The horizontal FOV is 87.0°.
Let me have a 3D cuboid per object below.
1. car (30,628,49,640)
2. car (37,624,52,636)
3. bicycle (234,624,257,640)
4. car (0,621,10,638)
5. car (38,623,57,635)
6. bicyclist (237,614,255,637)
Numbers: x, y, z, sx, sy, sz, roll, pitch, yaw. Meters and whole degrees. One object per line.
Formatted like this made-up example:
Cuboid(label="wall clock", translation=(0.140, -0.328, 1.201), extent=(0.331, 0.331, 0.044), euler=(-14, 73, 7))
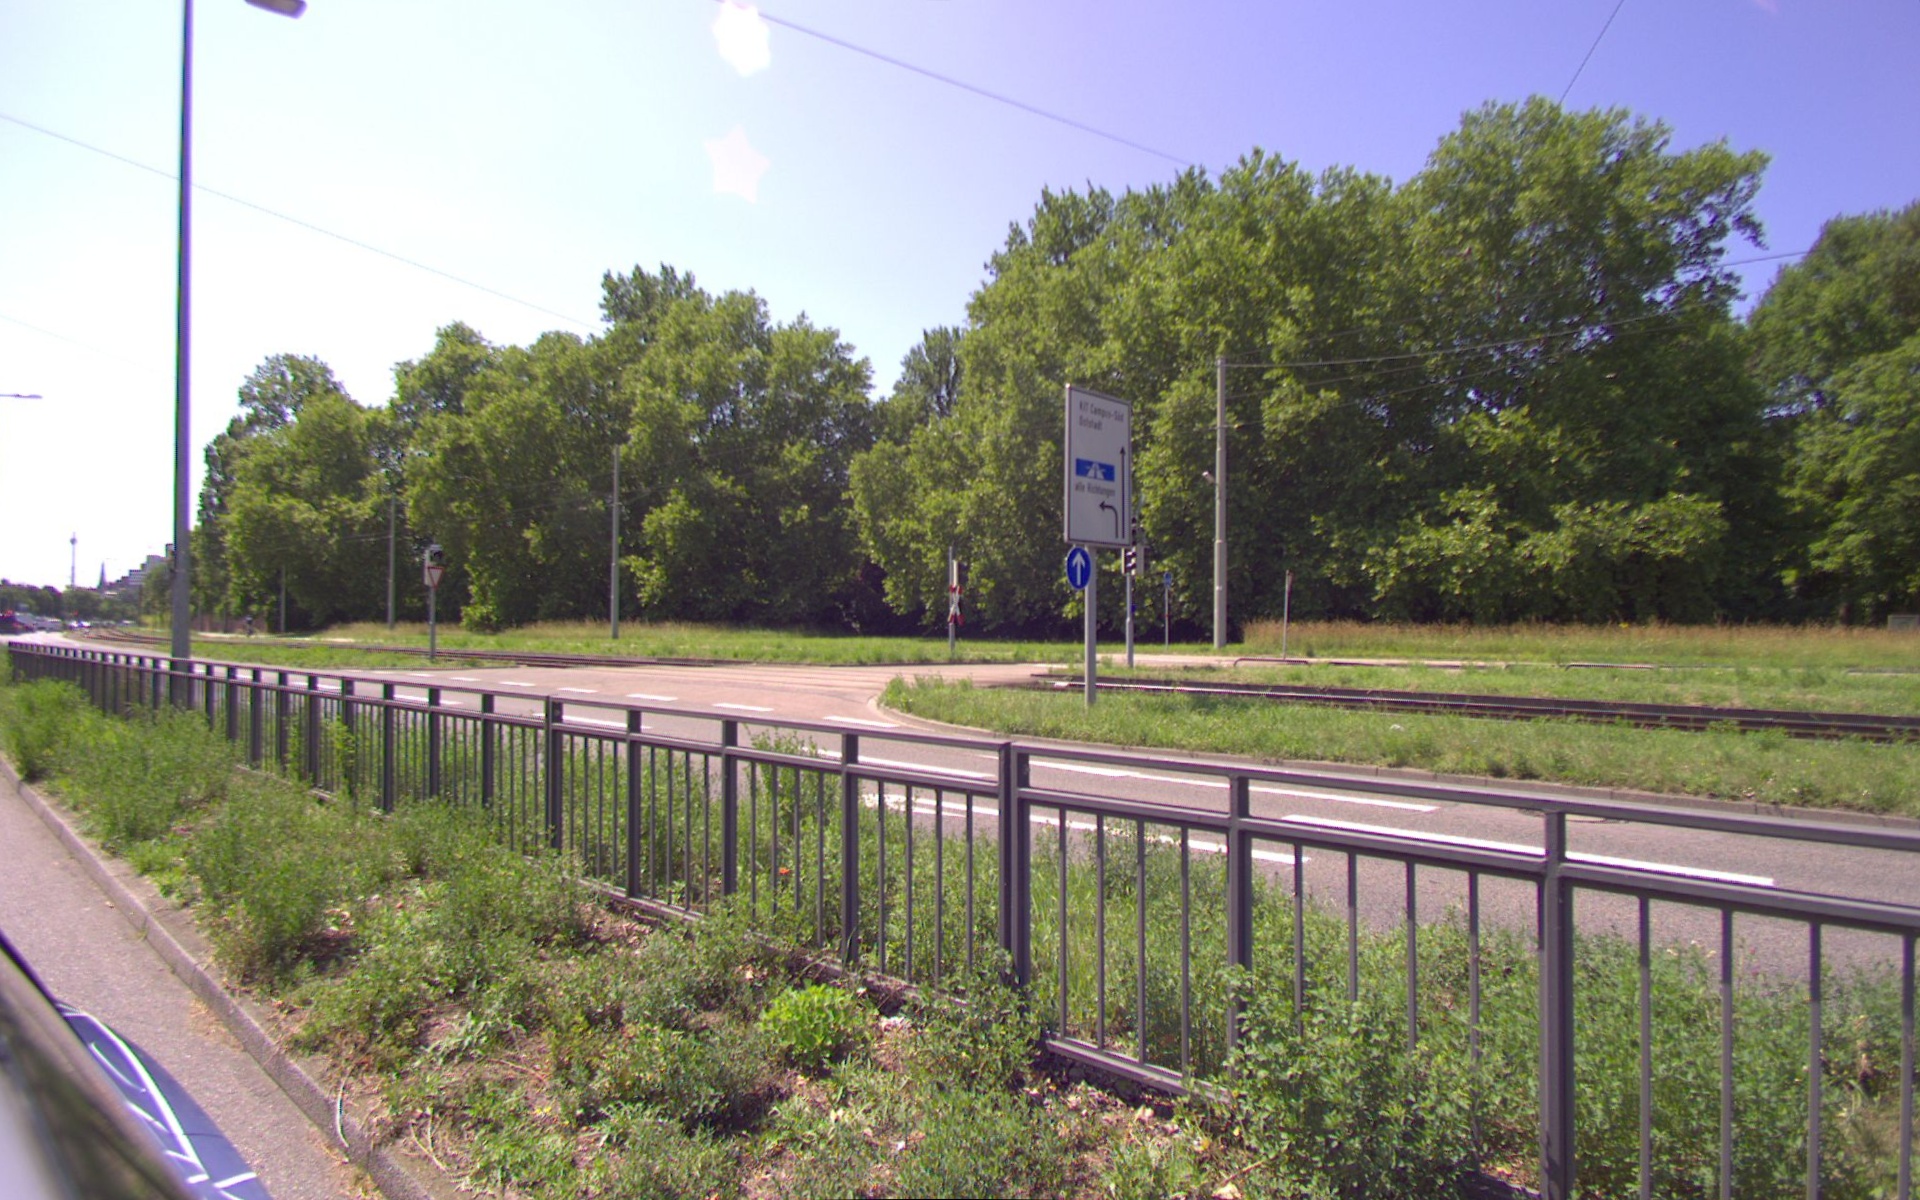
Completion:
Cuboid(label="car", translation=(-141.694, 5.243, 155.735), extent=(1.970, 1.871, 4.003), euler=(1, -2, -44))
Cuboid(label="car", translation=(-164.038, 5.278, 181.262), extent=(1.970, 2.029, 4.004), euler=(-1, 0, -43))
Cuboid(label="bicycle", translation=(-55.739, 2.492, 78.946), extent=(2.785, 1.171, 0.851), euler=(-1, -2, 41))
Cuboid(label="car", translation=(-107.728, 3.309, 113.289), extent=(1.970, 1.871, 4.004), euler=(1, -2, -43))
Cuboid(label="car", translation=(-136.856, 4.324, 151.754), extent=(1.970, 1.871, 4.003), euler=(1, -2, -44))
Cuboid(label="bicyclist", translation=(-55.685, 2.001, 78.940), extent=(1.117, 1.820, 0.851), euler=(-1, -2, 41))
